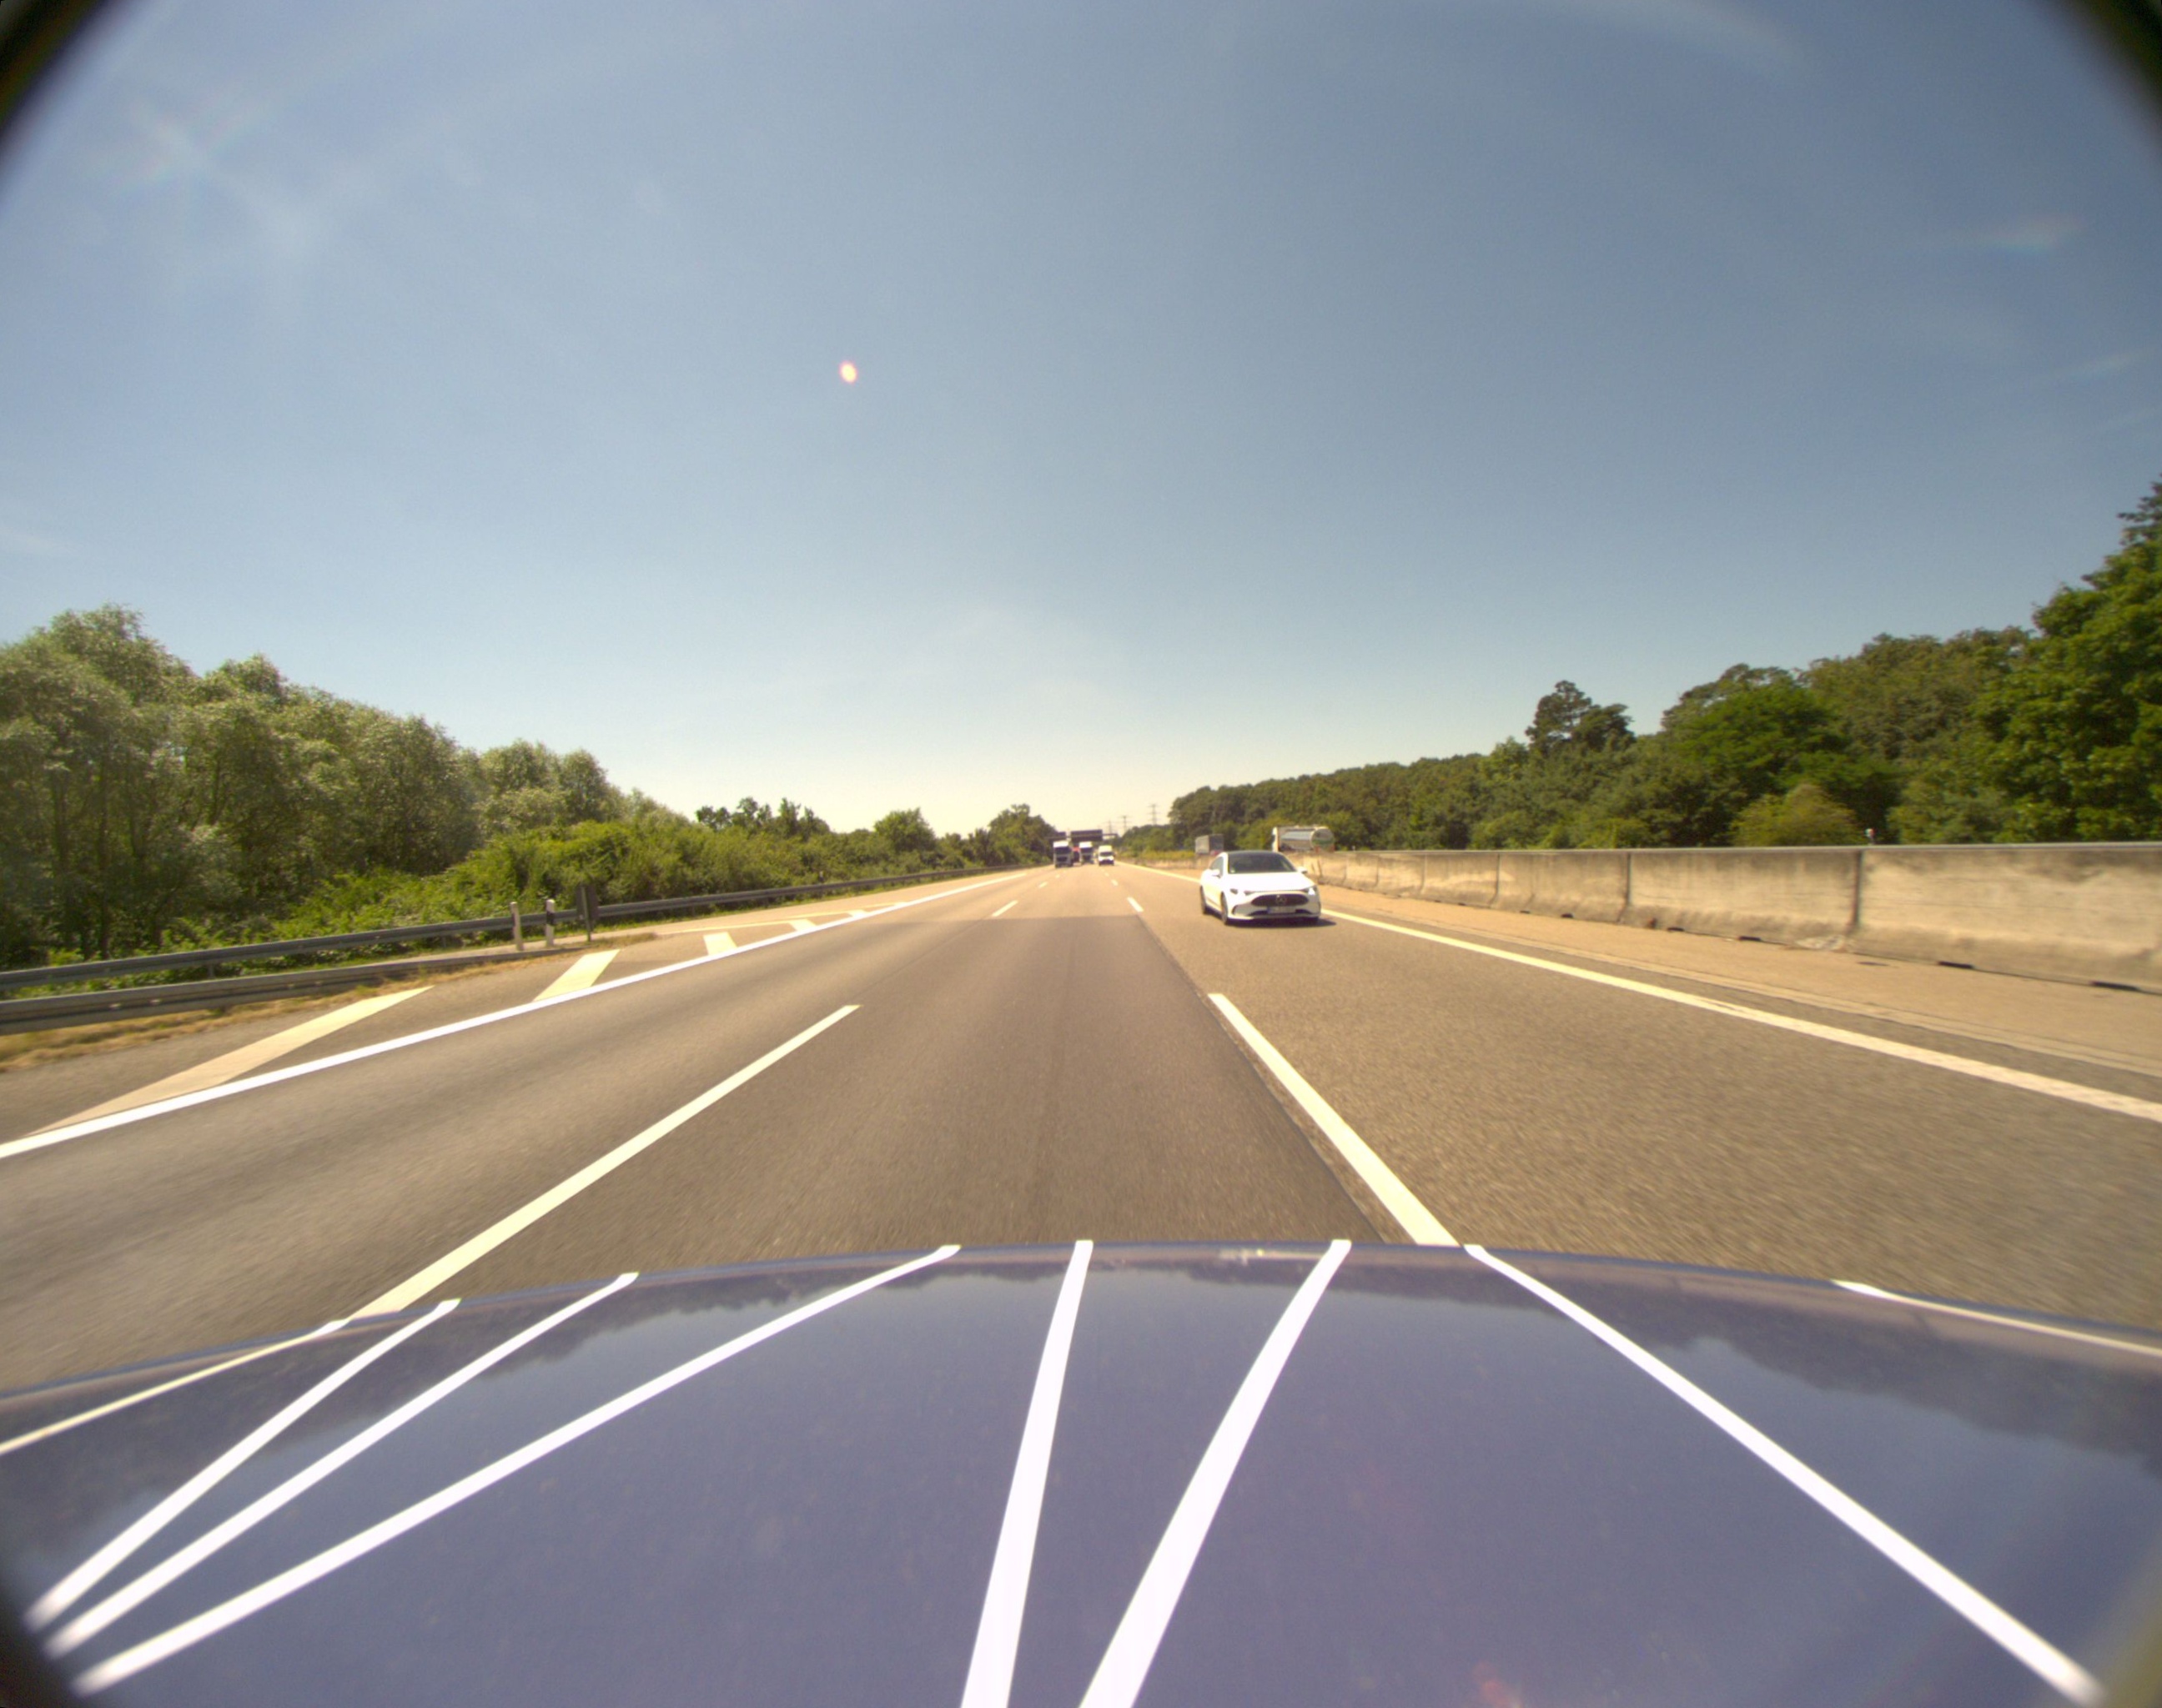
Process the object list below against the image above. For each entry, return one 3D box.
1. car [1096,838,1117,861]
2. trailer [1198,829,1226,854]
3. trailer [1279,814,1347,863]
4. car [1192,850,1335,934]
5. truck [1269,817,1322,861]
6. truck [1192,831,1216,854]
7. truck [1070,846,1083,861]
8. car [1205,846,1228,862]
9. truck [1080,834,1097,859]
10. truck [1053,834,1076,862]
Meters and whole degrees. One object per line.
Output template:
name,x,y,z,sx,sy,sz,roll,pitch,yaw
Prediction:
car,3.521,-0.631,103.773,2.521,2.857,6.400,-5,1,2
trailer,22.884,-2.139,133.347,2.992,4.052,11.774,-3,0,1
trailer,21.522,-1.408,71.260,2.814,4.024,10.429,-5,0,0
car,3.627,0.670,16.099,1.771,1.440,5.108,-2,0,0
truck,21.457,-1.452,76.483,2.814,4.024,7.729,-5,1,0
truck,23.004,-2.126,142.674,2.992,4.052,8.193,-3,0,1
truck,-1.228,-0.177,200.397,2.852,3.747,6.495,-5,1,1
car,17.892,-0.058,100.458,1.999,2.002,4.574,-3,1,0
truck,1.427,-1.391,141.171,2.700,4.232,8.243,-5,1,2
truck,-2.530,-0.922,120.592,2.990,4.187,7.593,-3,1,2
